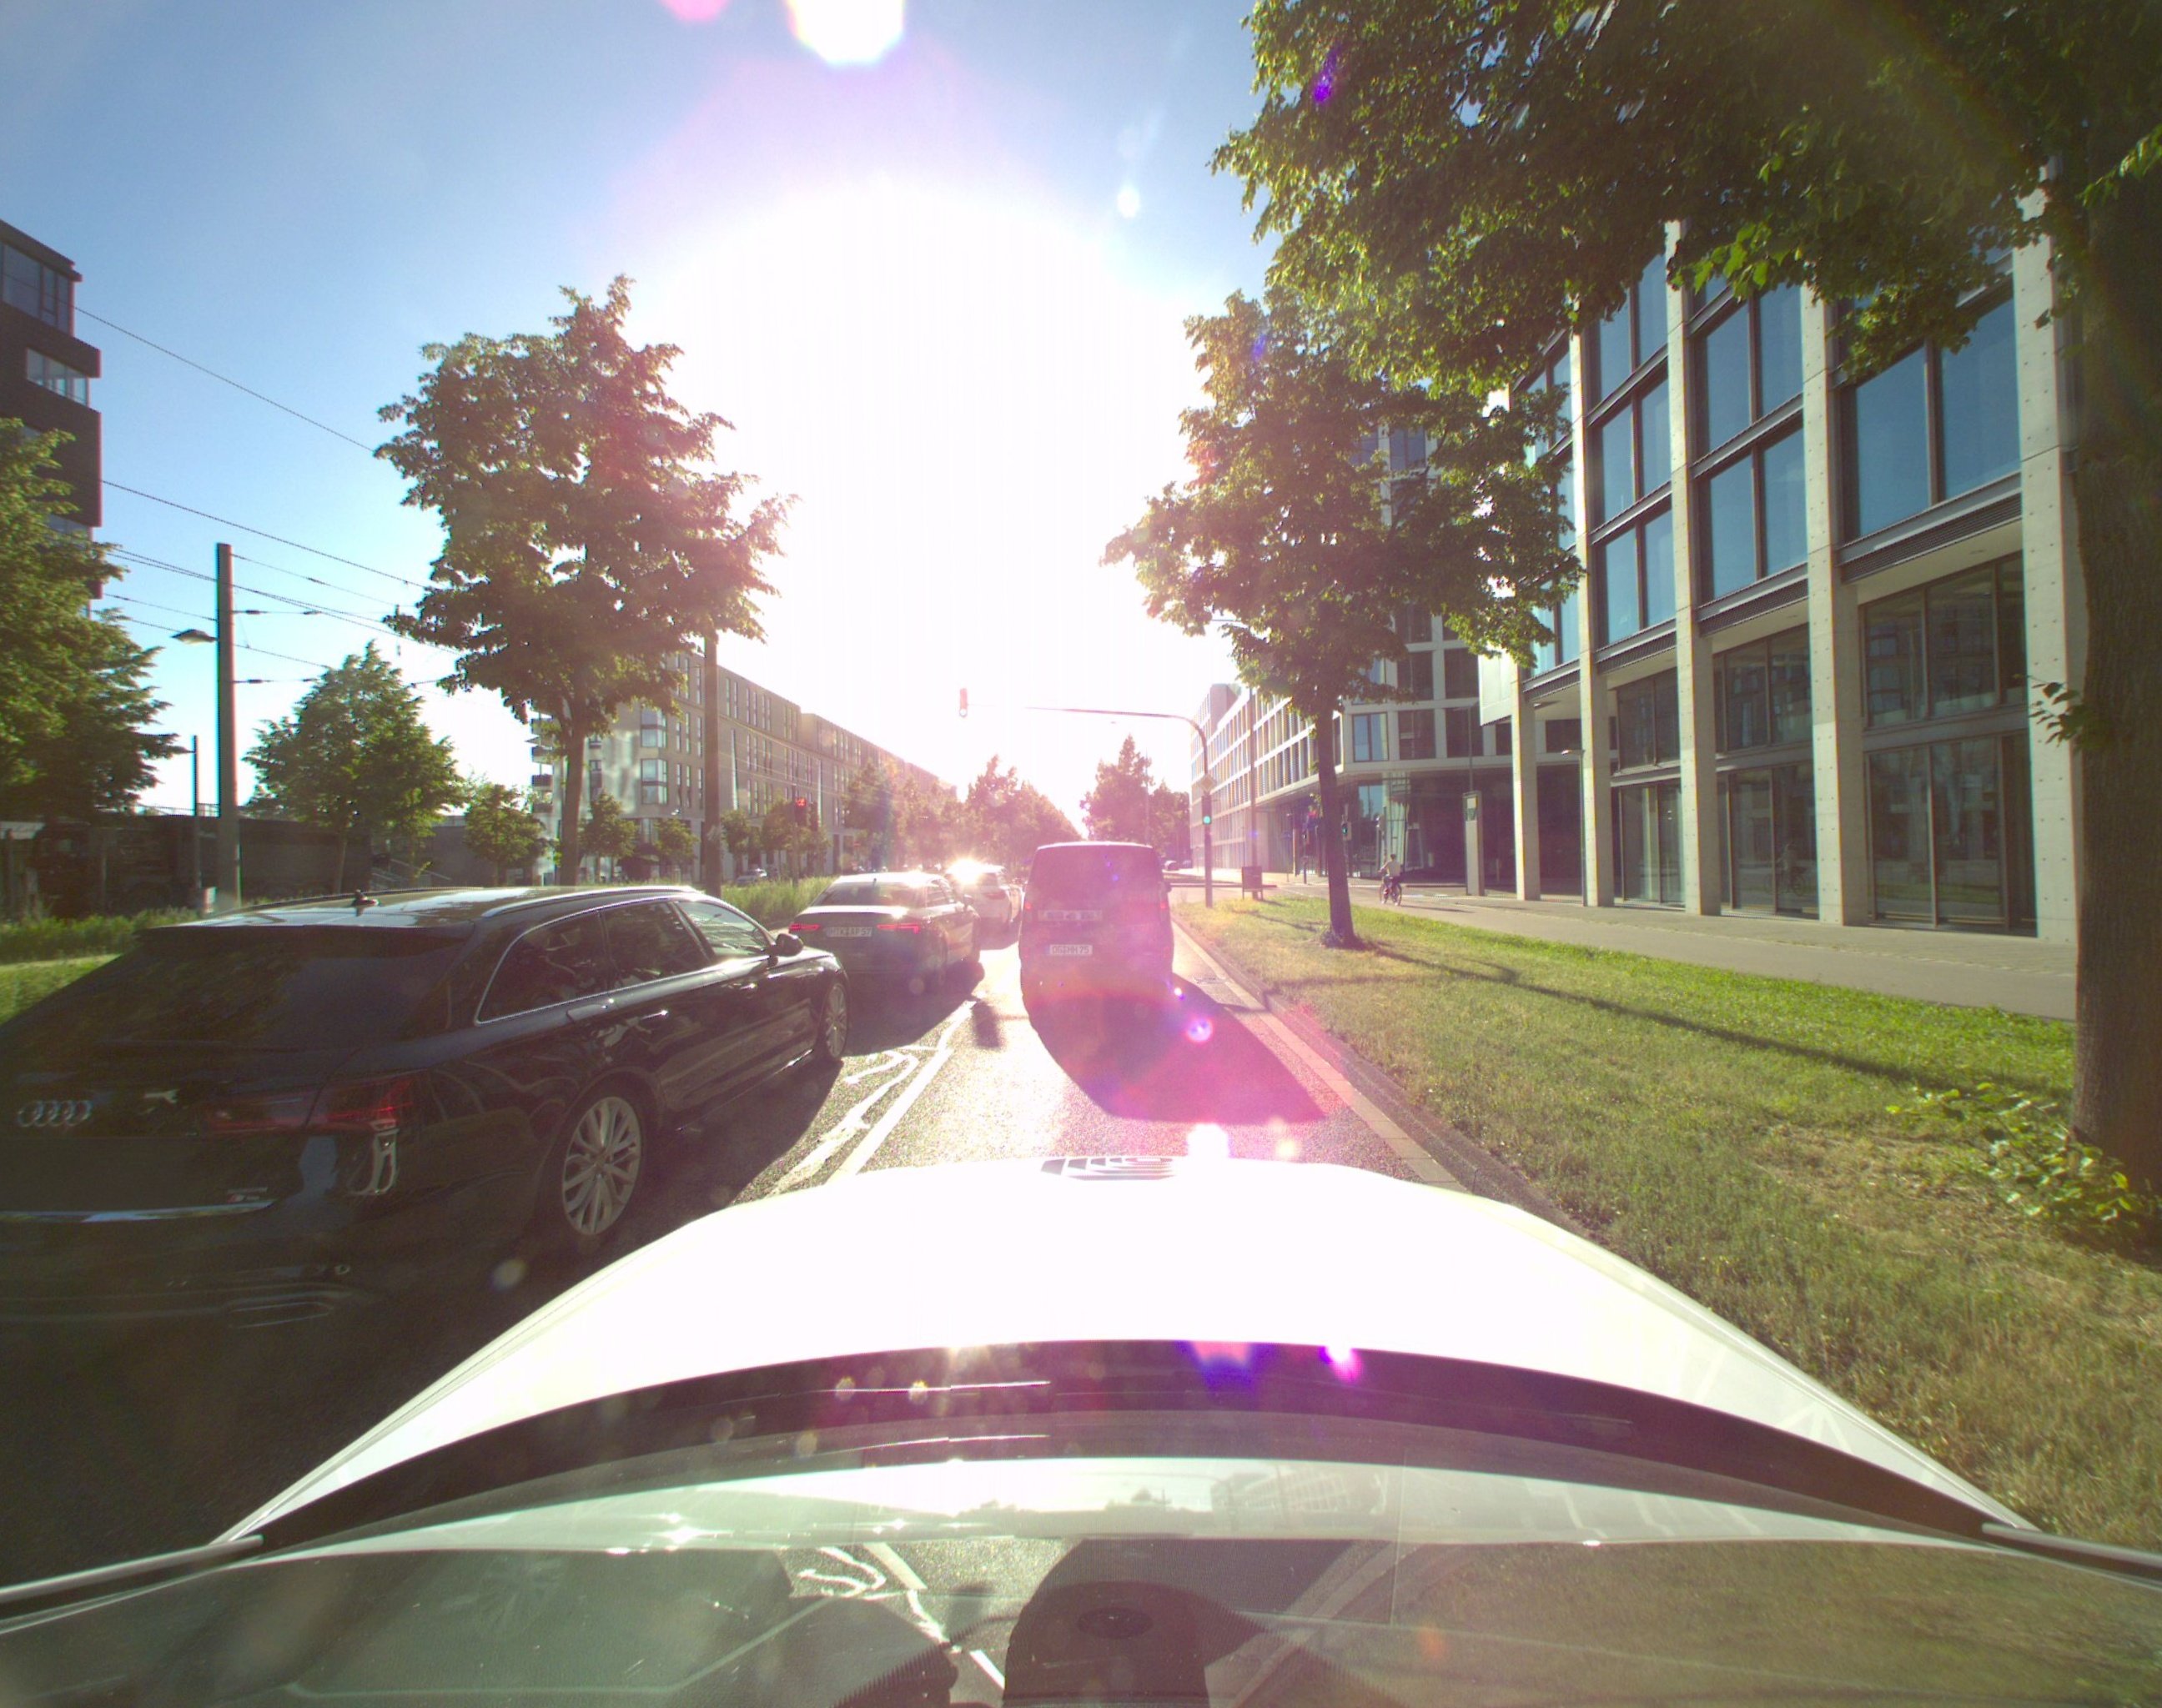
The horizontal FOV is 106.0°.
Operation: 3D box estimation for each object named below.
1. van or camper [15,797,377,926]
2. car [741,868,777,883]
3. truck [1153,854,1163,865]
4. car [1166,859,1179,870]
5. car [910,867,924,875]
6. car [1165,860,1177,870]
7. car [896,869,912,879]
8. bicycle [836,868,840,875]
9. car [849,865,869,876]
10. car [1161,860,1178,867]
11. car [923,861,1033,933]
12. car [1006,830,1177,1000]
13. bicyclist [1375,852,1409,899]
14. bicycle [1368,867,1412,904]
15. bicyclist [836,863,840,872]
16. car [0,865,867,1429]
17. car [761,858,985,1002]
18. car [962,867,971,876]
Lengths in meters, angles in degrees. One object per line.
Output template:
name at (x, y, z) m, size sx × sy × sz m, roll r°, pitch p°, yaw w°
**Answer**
van or camper at (-33.528, 0.309, 31.903) m, size 2.743 × 4.192 × 10.233 m, roll -1°, pitch -1°, yaw 2°
car at (-30.963, 2.047, 78.400) m, size 1.574 × 1.342 × 4.472 m, roll -1°, pitch -1°, yaw 1°
truck at (18.685, 1.388, 197.790) m, size 1.825 × 2.501 × 5.933 m, roll -1°, pitch -1°, yaw 1°
car at (14.286, 1.665, 126.961) m, size 1.750 × 1.611 × 3.906 m, roll -1°, pitch 0°, yaw 3°
car at (-30.097, 3.161, 149.574) m, size 1.574 × 1.342 × 3.713 m, roll -1°, pitch -1°, yaw 1°
car at (14.578, 1.721, 132.161) m, size 1.811 × 1.532 × 3.442 m, roll -1°, pitch -1°, yaw 5°
car at (-29.725, 3.332, 136.920) m, size 1.769 × 1.528 × 3.806 m, roll -1°, pitch -1°, yaw 1°
bicycle at (-36.105, 2.570, 121.013) m, size 0.528 × 1.111 × 1.632 m, roll 0°, pitch -1°, yaw -11°
car at (-30.263, 2.238, 111.144) m, size 1.574 × 1.342 × 3.713 m, roll -1°, pitch -1°, yaw 1°
car at (17.875, 1.983, 164.942) m, size 3.379 × 1.358 × 1.474 m, roll -1°, pitch -1°, yaw 8°
car at (-2.241, 0.897, 18.729) m, size 1.801 × 1.434 × 4.115 m, roll -1°, pitch 0°, yaw 3°
car at (0.205, 0.671, 10.838) m, size 1.801 × 1.794 × 4.115 m, roll -1°, pitch 0°, yaw 3°
bicyclist at (10.443, 0.709, 27.363) m, size 0.768 × 1.531 × 0.850 m, roll -2°, pitch -1°, yaw 1°
bicycle at (10.452, 1.049, 27.632) m, size 0.739 × 1.174 × 1.962 m, roll -3°, pitch -2°, yaw 2°
bicyclist at (-36.109, 1.964, 121.011) m, size 0.578 × 1.293 × 0.702 m, roll 0°, pitch -1°, yaw -10°
car at (-2.740, 0.828, 4.451) m, size 1.801 × 1.457 × 4.509 m, roll -1°, pitch 0°, yaw 2°
car at (-2.501, 0.834, 10.898) m, size 1.801 × 1.527 × 4.114 m, roll -1°, pitch 0°, yaw 2°
car at (-28.046, 4.282, 199.380) m, size 1.723 × 2.013 × 3.999 m, roll -1°, pitch 0°, yaw -1°
